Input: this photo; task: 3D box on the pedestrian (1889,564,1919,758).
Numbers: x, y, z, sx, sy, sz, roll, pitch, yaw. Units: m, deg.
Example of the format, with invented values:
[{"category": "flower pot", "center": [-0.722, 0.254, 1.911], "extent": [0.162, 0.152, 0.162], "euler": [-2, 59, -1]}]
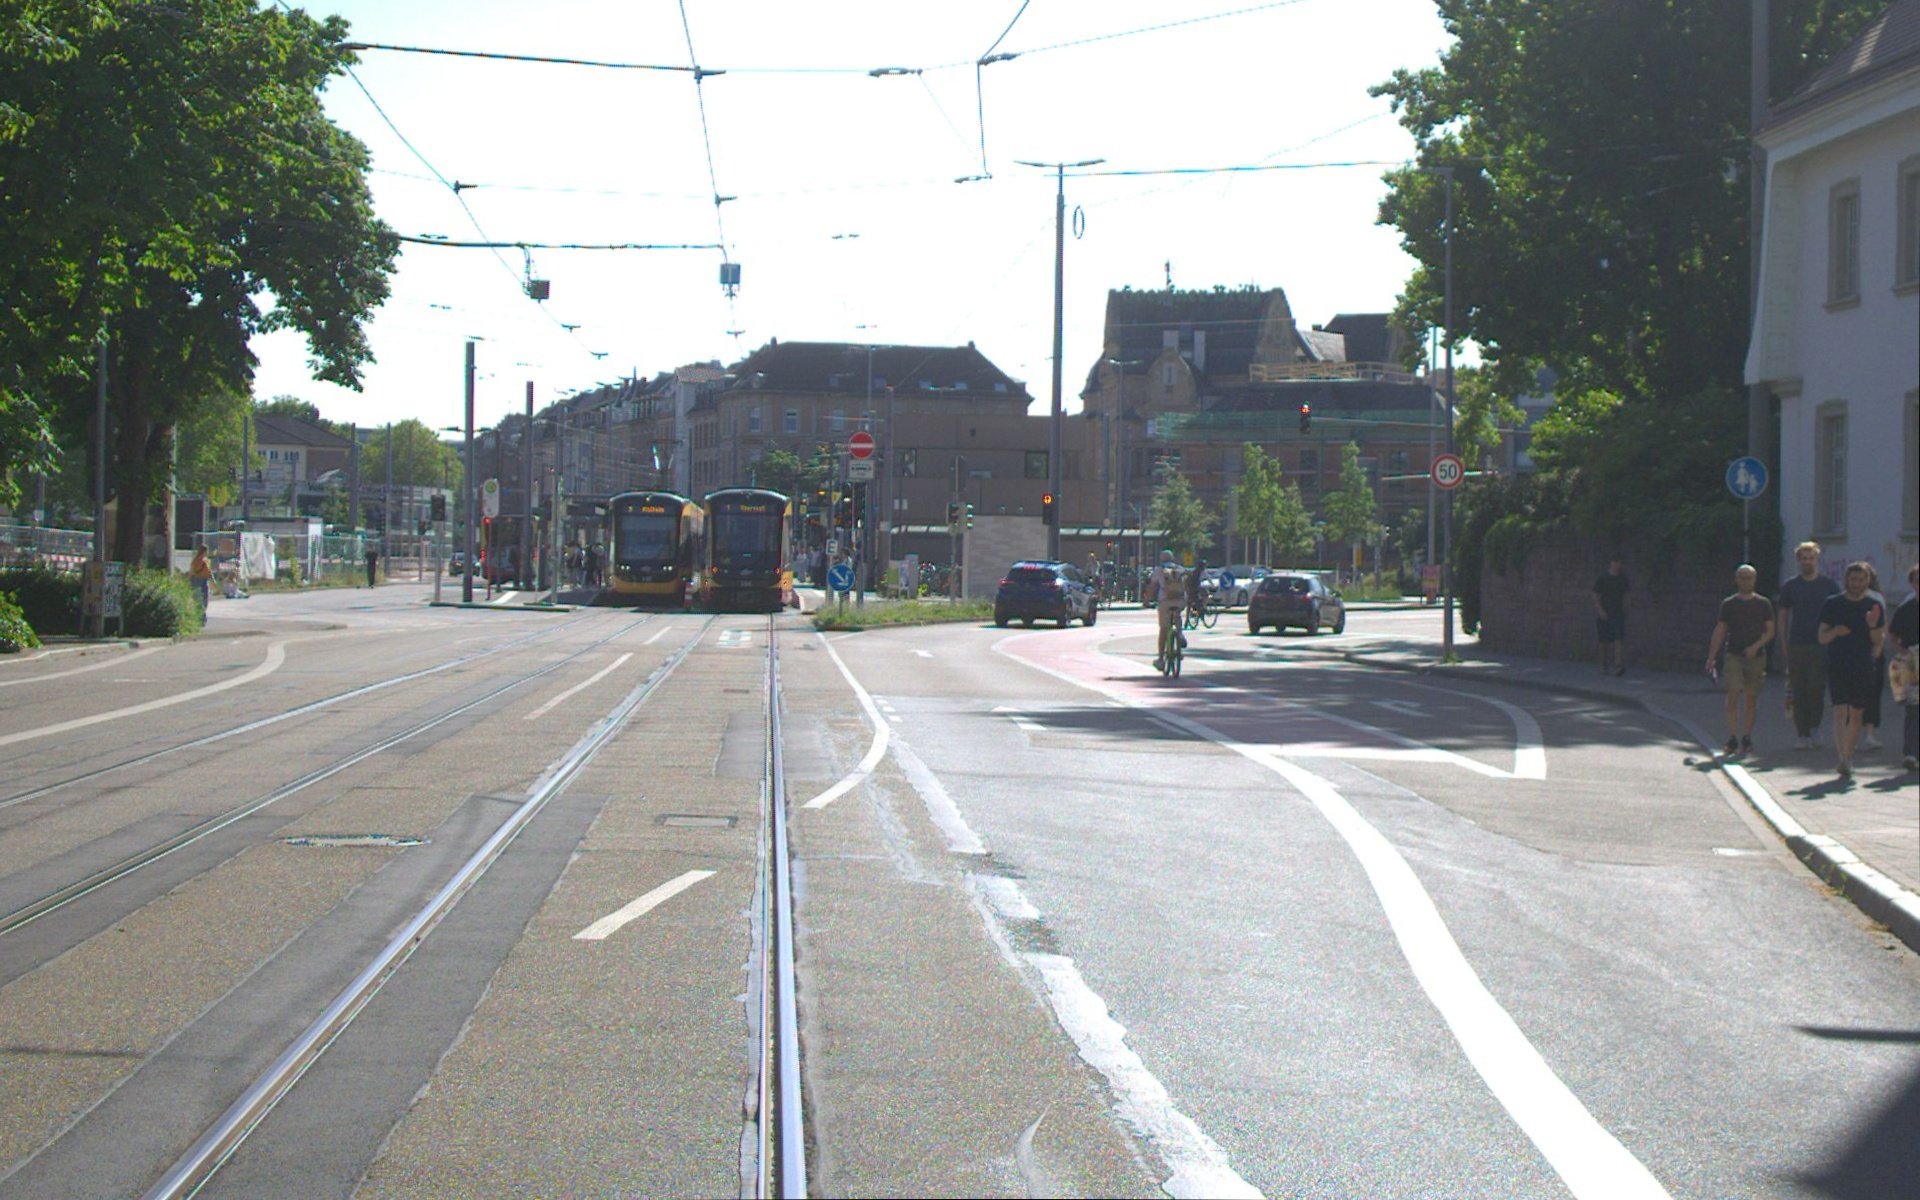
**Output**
[{"category": "pedestrian", "center": [8.976, 0.549, 31.839], "extent": [0.610, 1.768, 0.652], "euler": [-3, 0, 13]}]

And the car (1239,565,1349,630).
[{"category": "car", "center": [8.324, -0.068, 85.410], "extent": [1.791, 1.506, 3.709], "euler": [3, 1, 20]}]

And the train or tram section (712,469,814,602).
[{"category": "train or tram section", "center": [-5.902, -1.924, 101.994], "extent": [2.741, 3.639, 13.788], "euler": [1, 1, -4]}]

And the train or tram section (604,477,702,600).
[{"category": "train or tram section", "center": [-9.757, -2.001, 110.237], "extent": [2.741, 3.639, 13.788], "euler": [1, 1, -4]}]

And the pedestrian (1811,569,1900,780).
[{"category": "pedestrian", "center": [7.520, 0.611, 28.892], "extent": [0.495, 1.722, 0.816], "euler": [-3, 0, 4]}]

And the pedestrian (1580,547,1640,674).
[{"category": "pedestrian", "center": [9.894, 0.149, 52.372], "extent": [0.637, 1.897, 1.134], "euler": [-1, 1, -2]}]

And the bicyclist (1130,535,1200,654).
[{"category": "bicyclist", "center": [2.970, -0.078, 49.734], "extent": [0.705, 1.669, 1.100], "euler": [3, 1, 17]}]

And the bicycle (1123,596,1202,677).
[{"category": "bicycle", "center": [2.940, 0.521, 49.746], "extent": [0.705, 1.101, 1.716], "euler": [3, 1, 17]}]

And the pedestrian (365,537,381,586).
[{"category": "pedestrian", "center": [-24.272, -1.599, 142.231], "extent": [0.525, 2.007, 0.522], "euler": [1, 0, 2]}]

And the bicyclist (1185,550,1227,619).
[{"category": "bicyclist", "center": [6.221, -0.391, 86.847], "extent": [0.705, 1.694, 0.986], "euler": [4, 2, 22]}]

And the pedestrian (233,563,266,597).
[{"category": "pedestrian", "center": [-22.230, -0.613, 107.512], "extent": [0.897, 1.043, 0.655], "euler": [1, 1, -2]}]

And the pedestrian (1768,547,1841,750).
[{"category": "pedestrian", "center": [8.043, 0.455, 32.774], "extent": [0.518, 1.896, 0.611], "euler": [-2, 0, 5]}]

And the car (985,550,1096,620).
[{"category": "car", "center": [1.984, -0.378, 83.858], "extent": [1.790, 1.599, 3.710], "euler": [3, 1, 16]}]

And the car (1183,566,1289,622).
[{"category": "car", "center": [8.574, -0.165, 106.599], "extent": [1.704, 1.638, 3.705], "euler": [3, 1, 32]}]

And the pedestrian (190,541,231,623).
[{"category": "pedestrian", "center": [-15.645, -0.379, 71.743], "extent": [0.636, 1.691, 0.819], "euler": [-1, 1, -27]}]

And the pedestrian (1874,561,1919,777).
[{"category": "pedestrian", "center": [8.099, 0.560, 28.920], "extent": [0.647, 1.757, 0.955], "euler": [-3, 0, 12]}]

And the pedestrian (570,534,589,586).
[{"category": "pedestrian", "center": [-13.437, -1.407, 121.423], "extent": [0.626, 1.821, 0.662], "euler": [1, 1, -4]}]

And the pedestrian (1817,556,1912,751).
[{"category": "pedestrian", "center": [8.459, 0.498, 32.142], "extent": [0.529, 1.768, 0.734], "euler": [-3, 1, 38]}]

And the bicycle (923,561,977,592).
[{"category": "bicycle", "center": [-0.366, -0.861, 126.917], "extent": [1.933, 1.099, 0.599], "euler": [1, 1, -5]}]

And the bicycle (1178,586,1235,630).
[{"category": "bicycle", "center": [6.240, 0.190, 86.991], "extent": [0.705, 1.051, 2.311], "euler": [4, 2, 22]}]

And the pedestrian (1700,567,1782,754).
[{"category": "pedestrian", "center": [7.437, 0.566, 32.771], "extent": [0.606, 1.741, 0.718], "euler": [-2, 1, 5]}]
